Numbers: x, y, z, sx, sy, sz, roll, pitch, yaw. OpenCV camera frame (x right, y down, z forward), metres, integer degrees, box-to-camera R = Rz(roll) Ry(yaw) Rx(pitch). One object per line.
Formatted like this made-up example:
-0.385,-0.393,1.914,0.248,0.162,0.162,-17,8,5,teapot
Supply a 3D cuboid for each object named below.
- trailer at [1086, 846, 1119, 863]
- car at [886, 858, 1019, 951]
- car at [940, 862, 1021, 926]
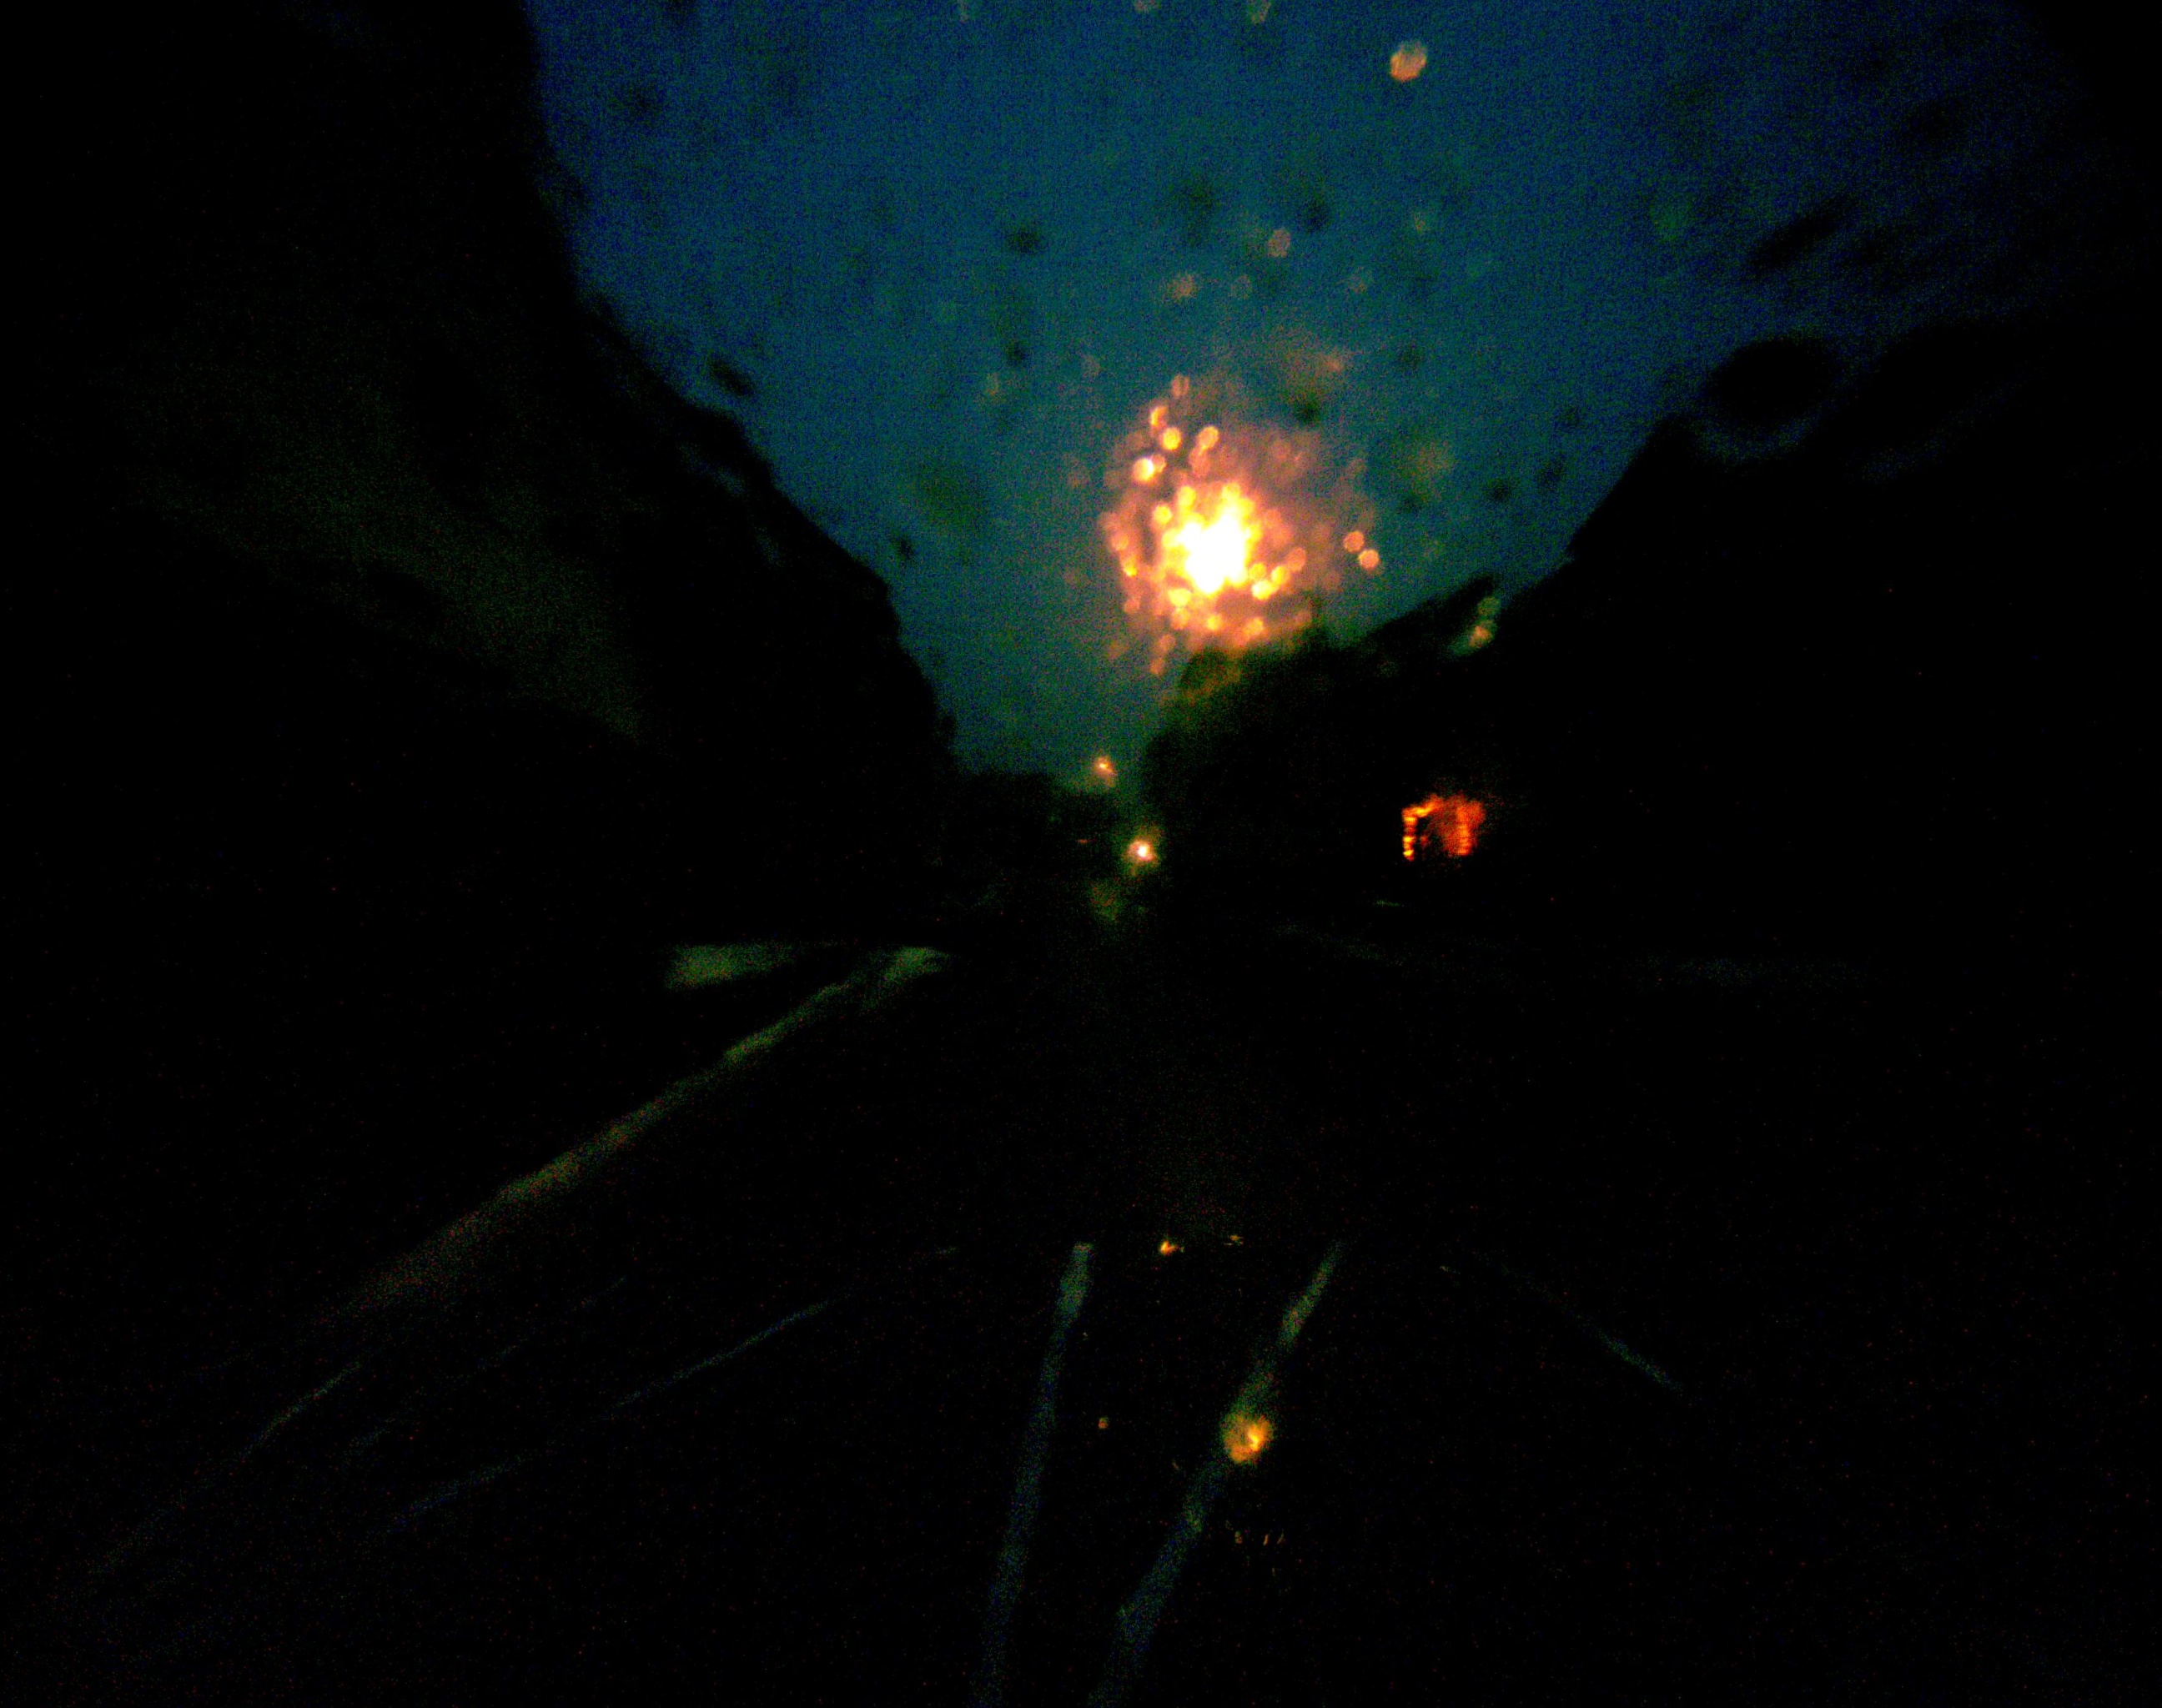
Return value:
2.056,0.051,70.816,1.996,1.380,4.736,-3,1,15,trailer
-2.348,0.866,14.980,1.915,1.472,4.281,-1,1,-1,car
-2.586,0.996,20.323,1.721,1.491,3.906,-1,0,-1,car
